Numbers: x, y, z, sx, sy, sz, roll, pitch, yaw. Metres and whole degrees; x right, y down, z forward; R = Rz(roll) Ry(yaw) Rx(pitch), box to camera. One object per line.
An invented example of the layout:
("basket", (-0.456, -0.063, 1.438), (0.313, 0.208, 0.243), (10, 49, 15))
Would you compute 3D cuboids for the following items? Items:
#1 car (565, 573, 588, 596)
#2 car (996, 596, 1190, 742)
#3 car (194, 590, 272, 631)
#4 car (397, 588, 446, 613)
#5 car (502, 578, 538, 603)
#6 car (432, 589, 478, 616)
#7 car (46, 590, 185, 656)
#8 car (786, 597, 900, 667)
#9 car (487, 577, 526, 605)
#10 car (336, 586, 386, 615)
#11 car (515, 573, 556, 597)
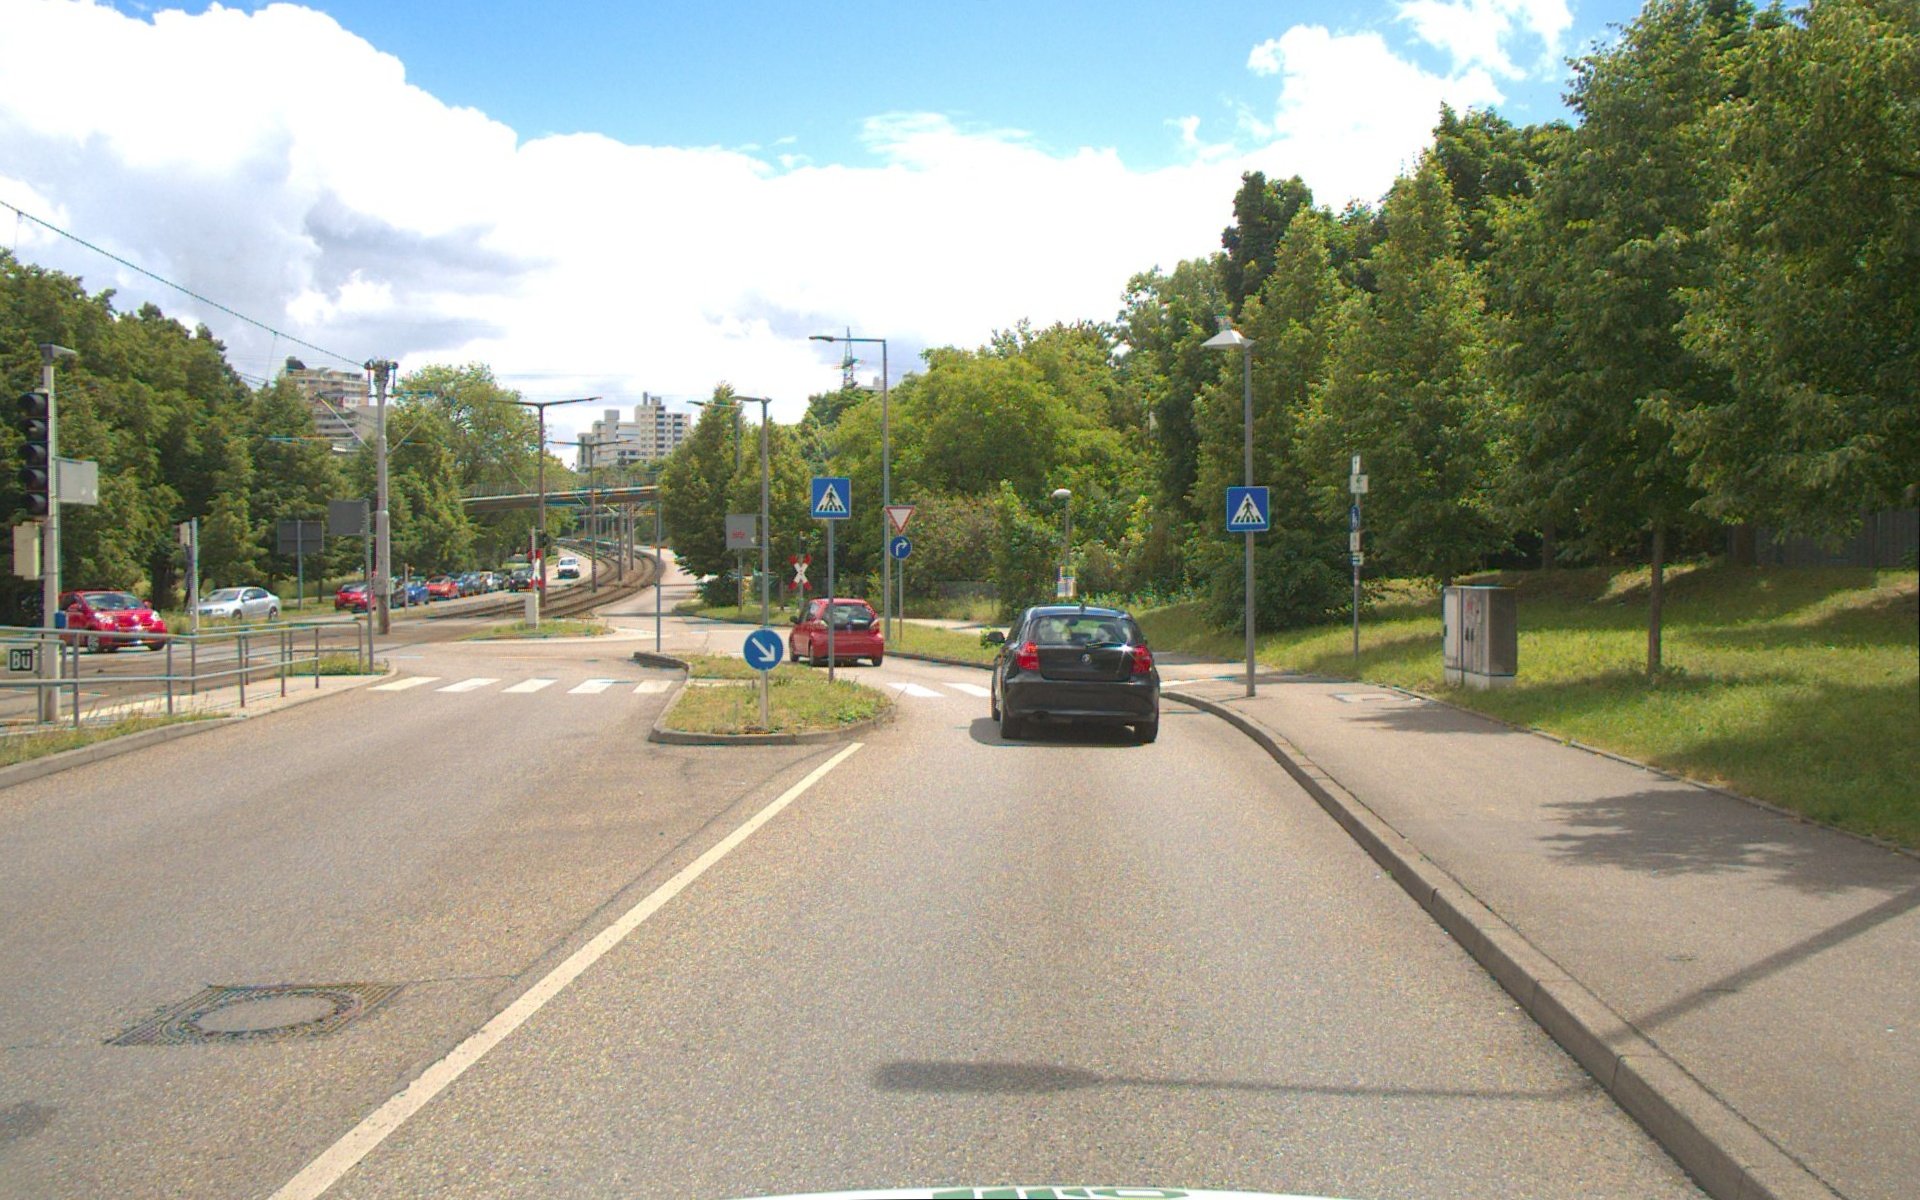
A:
("car", (-36.229, -1.469, 156.104), (1.960, 2.049, 3.985), (-1, 1, -15))
("car", (1.414, 0.732, 18.994), (1.778, 1.445, 3.998), (-1, -1, -2))
("car", (-27.244, 0.367, 62.073), (1.843, 1.373, 3.821), (-1, 1, -11))
("car", (-30.253, 0.015, 92.996), (1.770, 1.276, 3.566), (-1, 1, -4))
("car", (-34.444, -0.788, 129.559), (1.954, 1.895, 3.997), (0, 1, -4))
("car", (-31.510, 0.153, 103.251), (1.875, 1.588, 3.997), (-1, 1, -4))
("car", (-20.526, 0.541, 40.215), (2.902, 1.529, 1.722), (0, 1, 30))
("car", (-2.677, 0.700, 37.062), (1.739, 1.457, 3.460), (-1, 0, -18))
("car", (-34.191, -0.718, 124.903), (1.953, 2.048, 3.999), (0, 1, -2))
("car", (-29.536, 0.025, 81.614), (1.499, 1.394, 3.592), (-1, 0, -7))
("car", (-30.495, -1.070, 118.956), (1.953, 1.625, 4.418), (-1, 0, -2))
